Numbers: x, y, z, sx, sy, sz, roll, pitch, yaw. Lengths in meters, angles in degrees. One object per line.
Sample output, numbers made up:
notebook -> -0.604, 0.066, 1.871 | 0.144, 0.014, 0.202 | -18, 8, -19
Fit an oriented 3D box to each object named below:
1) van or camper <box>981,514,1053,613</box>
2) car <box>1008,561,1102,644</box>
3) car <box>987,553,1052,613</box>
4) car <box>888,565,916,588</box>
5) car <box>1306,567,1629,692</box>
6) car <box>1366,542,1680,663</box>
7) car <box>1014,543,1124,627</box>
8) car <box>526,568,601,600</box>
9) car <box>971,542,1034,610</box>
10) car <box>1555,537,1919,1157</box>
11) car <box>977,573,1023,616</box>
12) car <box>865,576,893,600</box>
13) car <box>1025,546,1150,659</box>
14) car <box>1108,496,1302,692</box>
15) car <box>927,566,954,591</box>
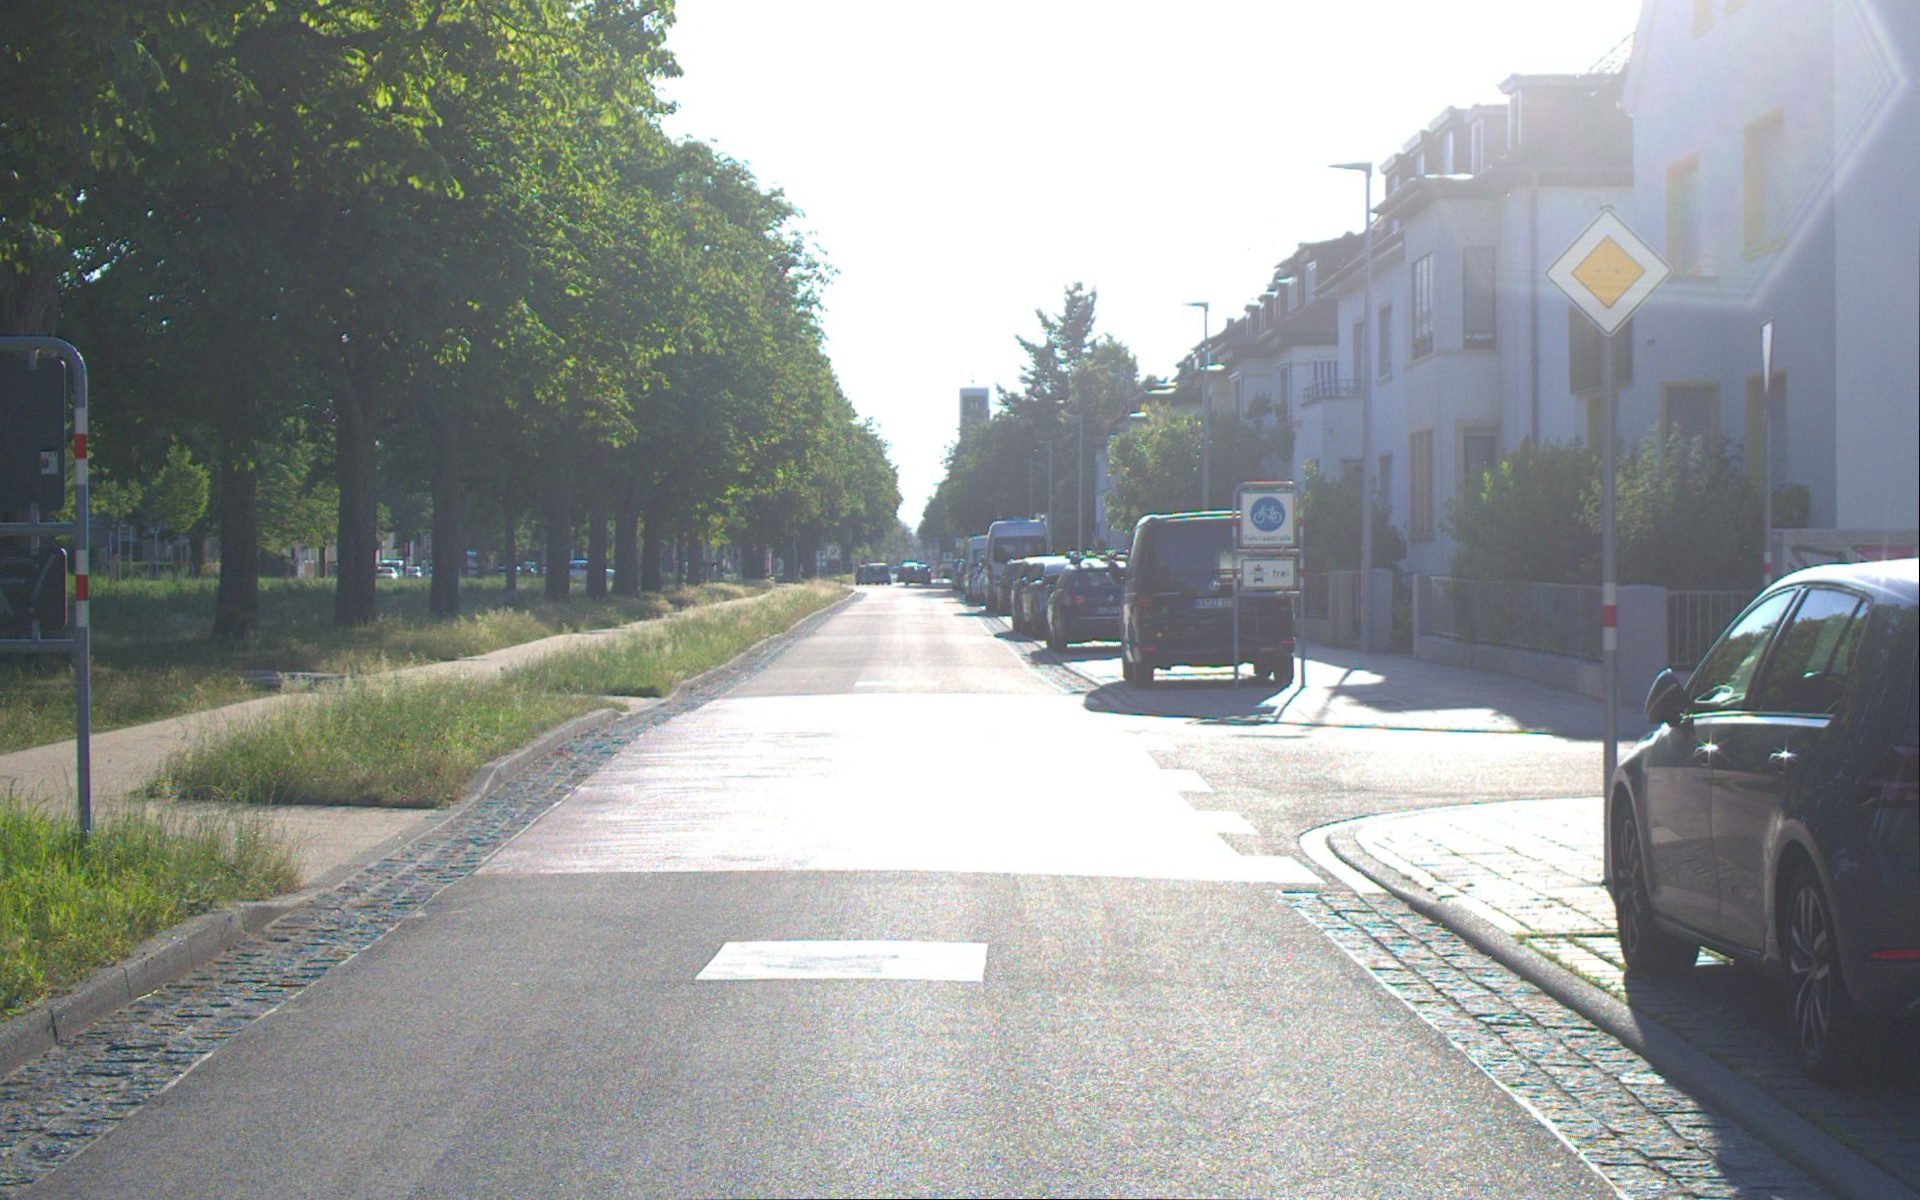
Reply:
van or camper -> 1.665, -1.043, 102.265 | 1.943, 2.768, 5.940 | 2, 0, 0
car -> 2.036, 0.027, 74.798 | 1.832, 1.679, 4.415 | 2, 1, -1
car -> 1.630, -0.460, 95.812 | 1.663, 1.587, 4.086 | 2, 0, 0
car -> -4.011, -1.638, 238.177 | 1.863, 1.591, 3.894 | 1, 1, -2
car -> 7.150, 0.408, 48.694 | 4.216, 1.720, 1.853 | 0, 0, -4
car -> 8.226, 0.030, 50.420 | 4.216, 1.720, 1.853 | 0, 0, -4
car -> 2.152, -0.289, 68.914 | 1.717, 1.568, 4.211 | -2, 0, -4
car -> -23.643, -0.938, 205.052 | 4.345, 1.758, 2.000 | 2, 0, -9
car -> 1.623, -0.932, 132.693 | 2.126, 2.524, 5.189 | -1, 0, -3
car -> 3.114, 0.574, 10.666 | 1.794, 1.477, 4.124 | -2, 1, 0
car -> 1.479, -0.208, 126.341 | 1.650, 1.525, 3.851 | -1, 0, 0
car -> -5.494, -0.795, 233.980 | 1.863, 1.591, 3.870 | 2, 0, -1
car -> 2.080, 0.017, 57.150 | 1.794, 1.765, 4.473 | -2, 1, -1
car -> 2.828, -0.090, 40.659 | 1.906, 2.124, 4.814 | -2, 1, 0
car -> -1.243, -1.363, 220.192 | 1.650, 1.525, 3.851 | 2, 0, 0
